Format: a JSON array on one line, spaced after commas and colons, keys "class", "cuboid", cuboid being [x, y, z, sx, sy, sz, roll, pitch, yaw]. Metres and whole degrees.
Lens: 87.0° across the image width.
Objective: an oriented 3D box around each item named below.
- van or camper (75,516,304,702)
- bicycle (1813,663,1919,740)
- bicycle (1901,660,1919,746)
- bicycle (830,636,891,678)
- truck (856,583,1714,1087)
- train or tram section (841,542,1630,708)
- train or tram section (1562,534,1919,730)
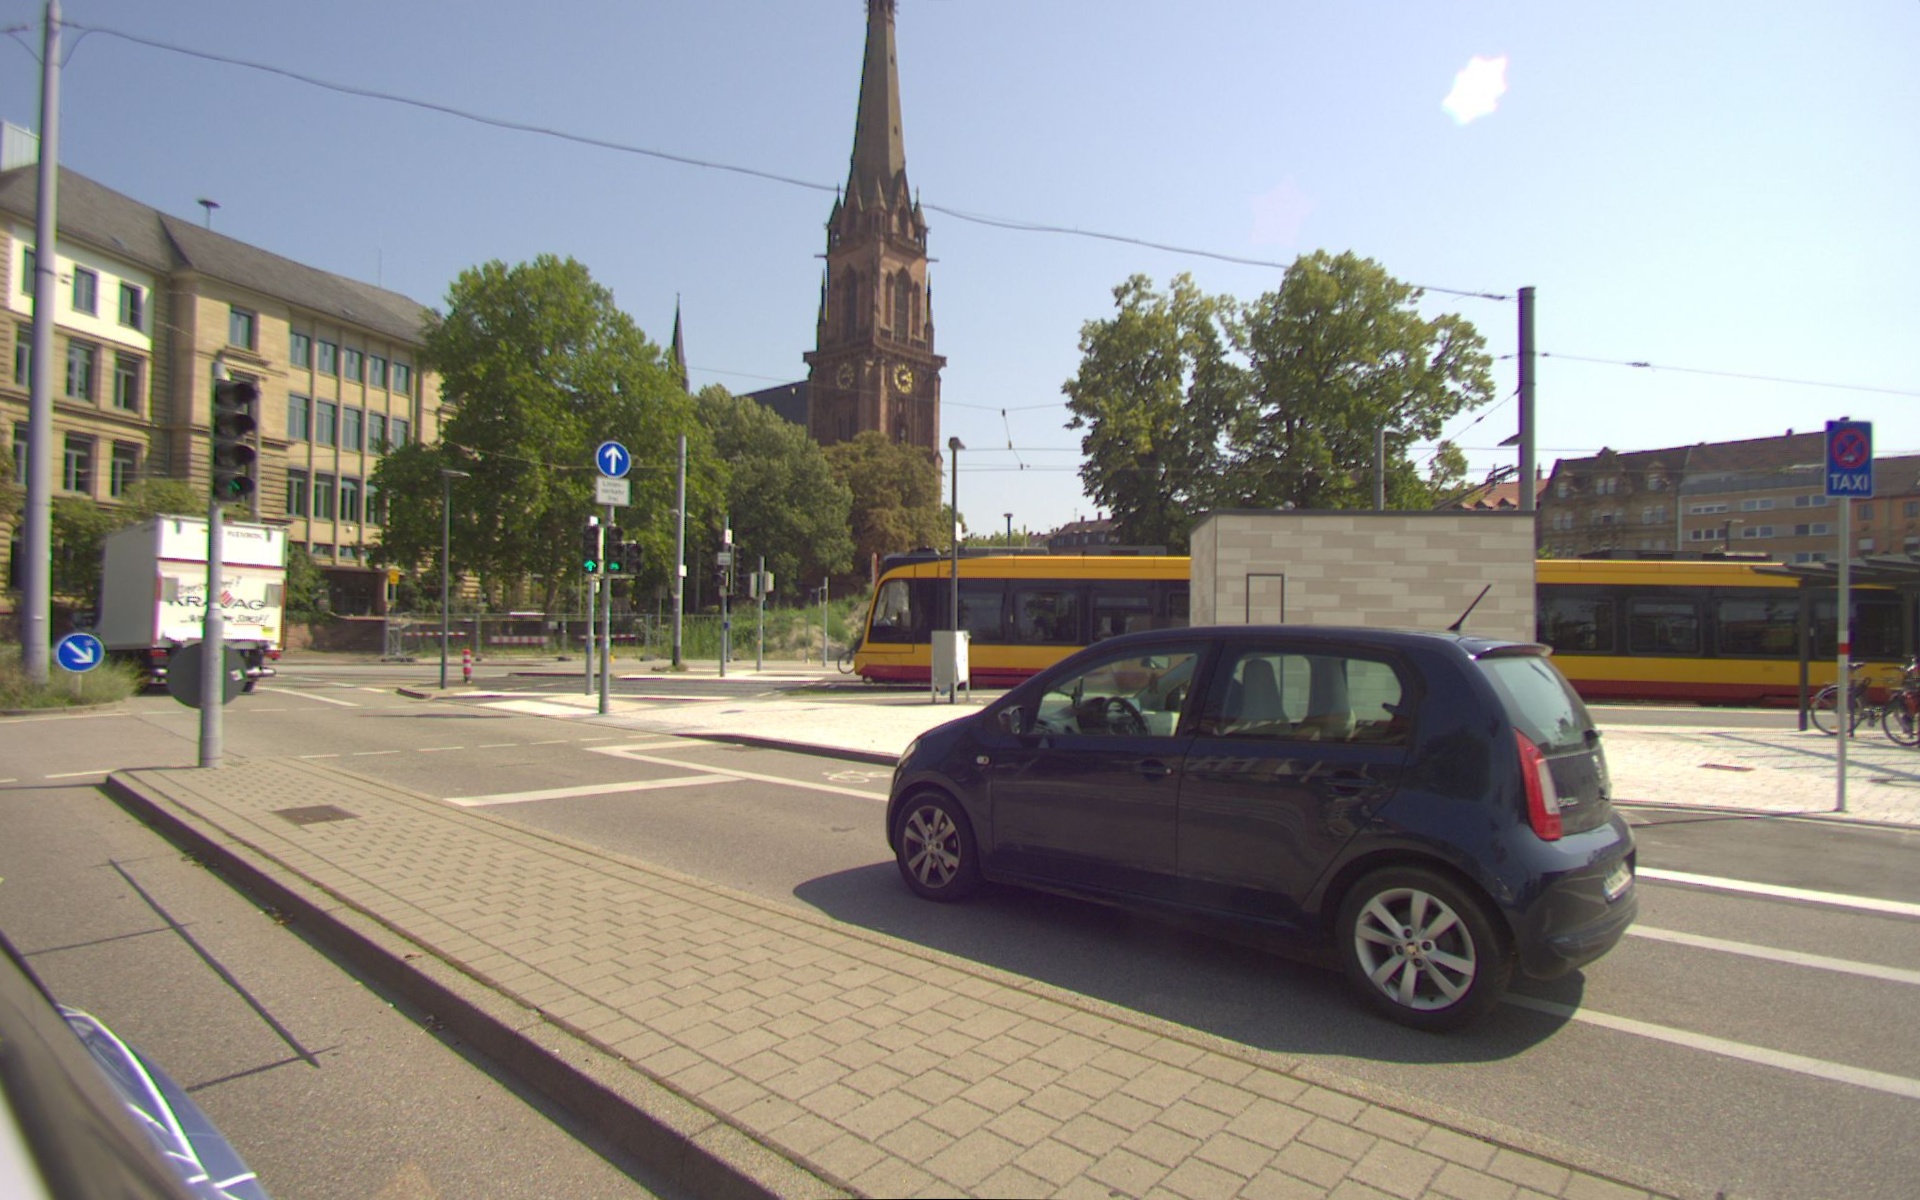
[{"class": "van or camper", "cuboid": [-16.409, 0.248, 21.337, 7.187, 3.331, 2.375, -1, -3, 41]}, {"class": "bicycle", "cuboid": [13.203, 1.442, 14.452, 1.530, 1.040, 0.464, 0, -1, 9]}, {"class": "bicycle", "cuboid": [13.287, 1.362, 13.225, 1.406, 1.109, 0.464, 0, -1, 9]}, {"class": "bicycle", "cuboid": [-2.976, 1.701, 30.338, 1.687, 1.232, 0.607, 0, -2, 12]}, {"class": "truck", "cuboid": [1.278, 0.762, 4.873, 3.621, 1.516, 1.538, -1, -3, 43]}, {"class": "train or tram section", "cuboid": [6.015, 0.511, 24.526, 17.529, 3.575, 2.859, 1, -1, 7]}, {"class": "train or tram section", "cuboid": [23.971, 0.734, 22.077, 18.915, 4.099, 2.889, 1, -1, 8]}]
